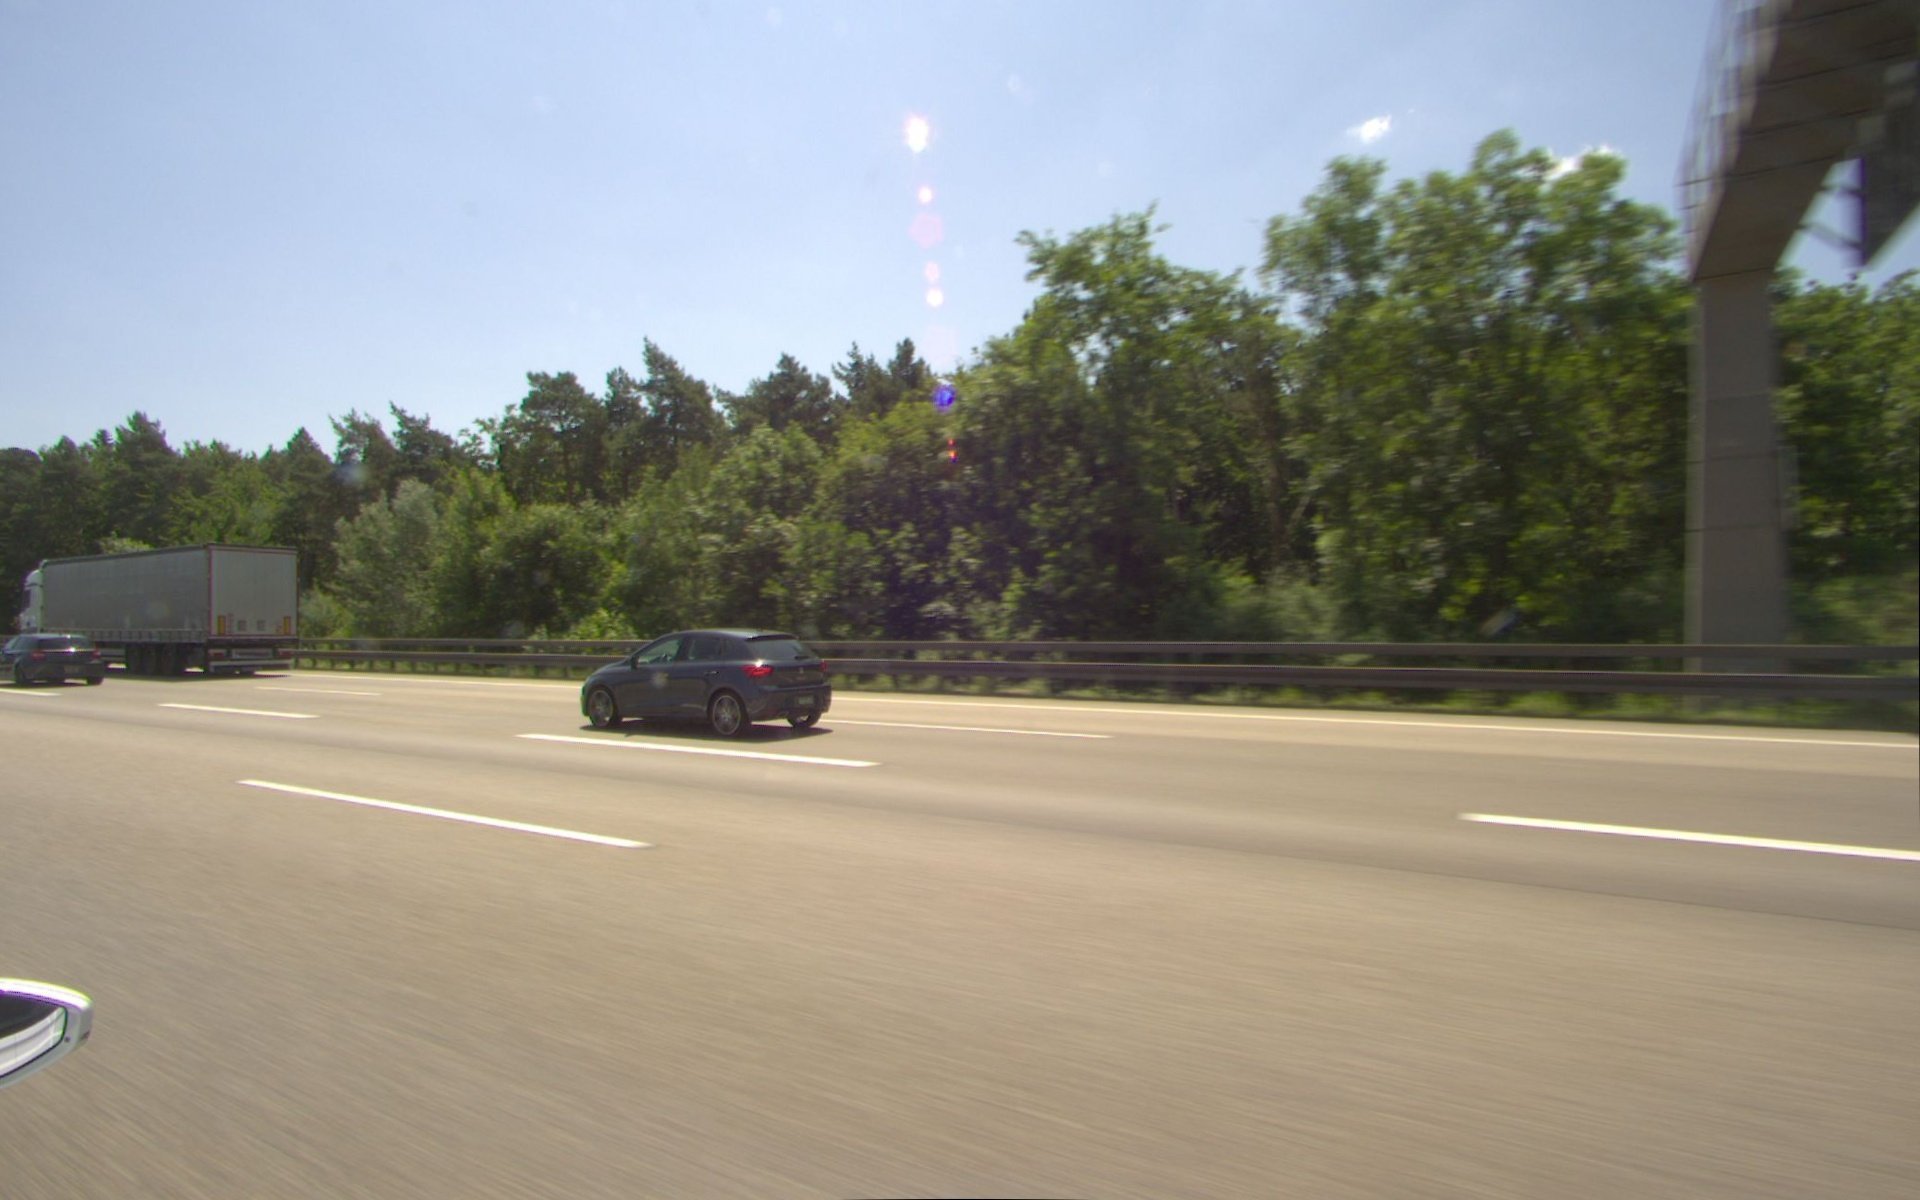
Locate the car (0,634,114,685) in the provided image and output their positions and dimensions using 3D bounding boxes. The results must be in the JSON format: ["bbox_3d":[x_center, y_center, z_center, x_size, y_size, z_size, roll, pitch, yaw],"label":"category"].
[{"bbox_3d":[-25.145,1.598,27.549,4.229,1.290,1.667,-2,-1,32],"label":"car"}]

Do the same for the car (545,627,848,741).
[{"bbox_3d":[-3.958,1.132,14.737,4.568,1.457,1.640,-1,-2,32],"label":"car"}]

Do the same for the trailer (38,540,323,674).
[{"bbox_3d":[-27.377,0.355,34.772,13.689,3.981,3.282,-1,-1,32],"label":"trailer"}]

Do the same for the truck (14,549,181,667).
[{"bbox_3d":[-33.021,0.359,38.314,5.902,4.159,3.249,-1,-1,32],"label":"truck"}]
